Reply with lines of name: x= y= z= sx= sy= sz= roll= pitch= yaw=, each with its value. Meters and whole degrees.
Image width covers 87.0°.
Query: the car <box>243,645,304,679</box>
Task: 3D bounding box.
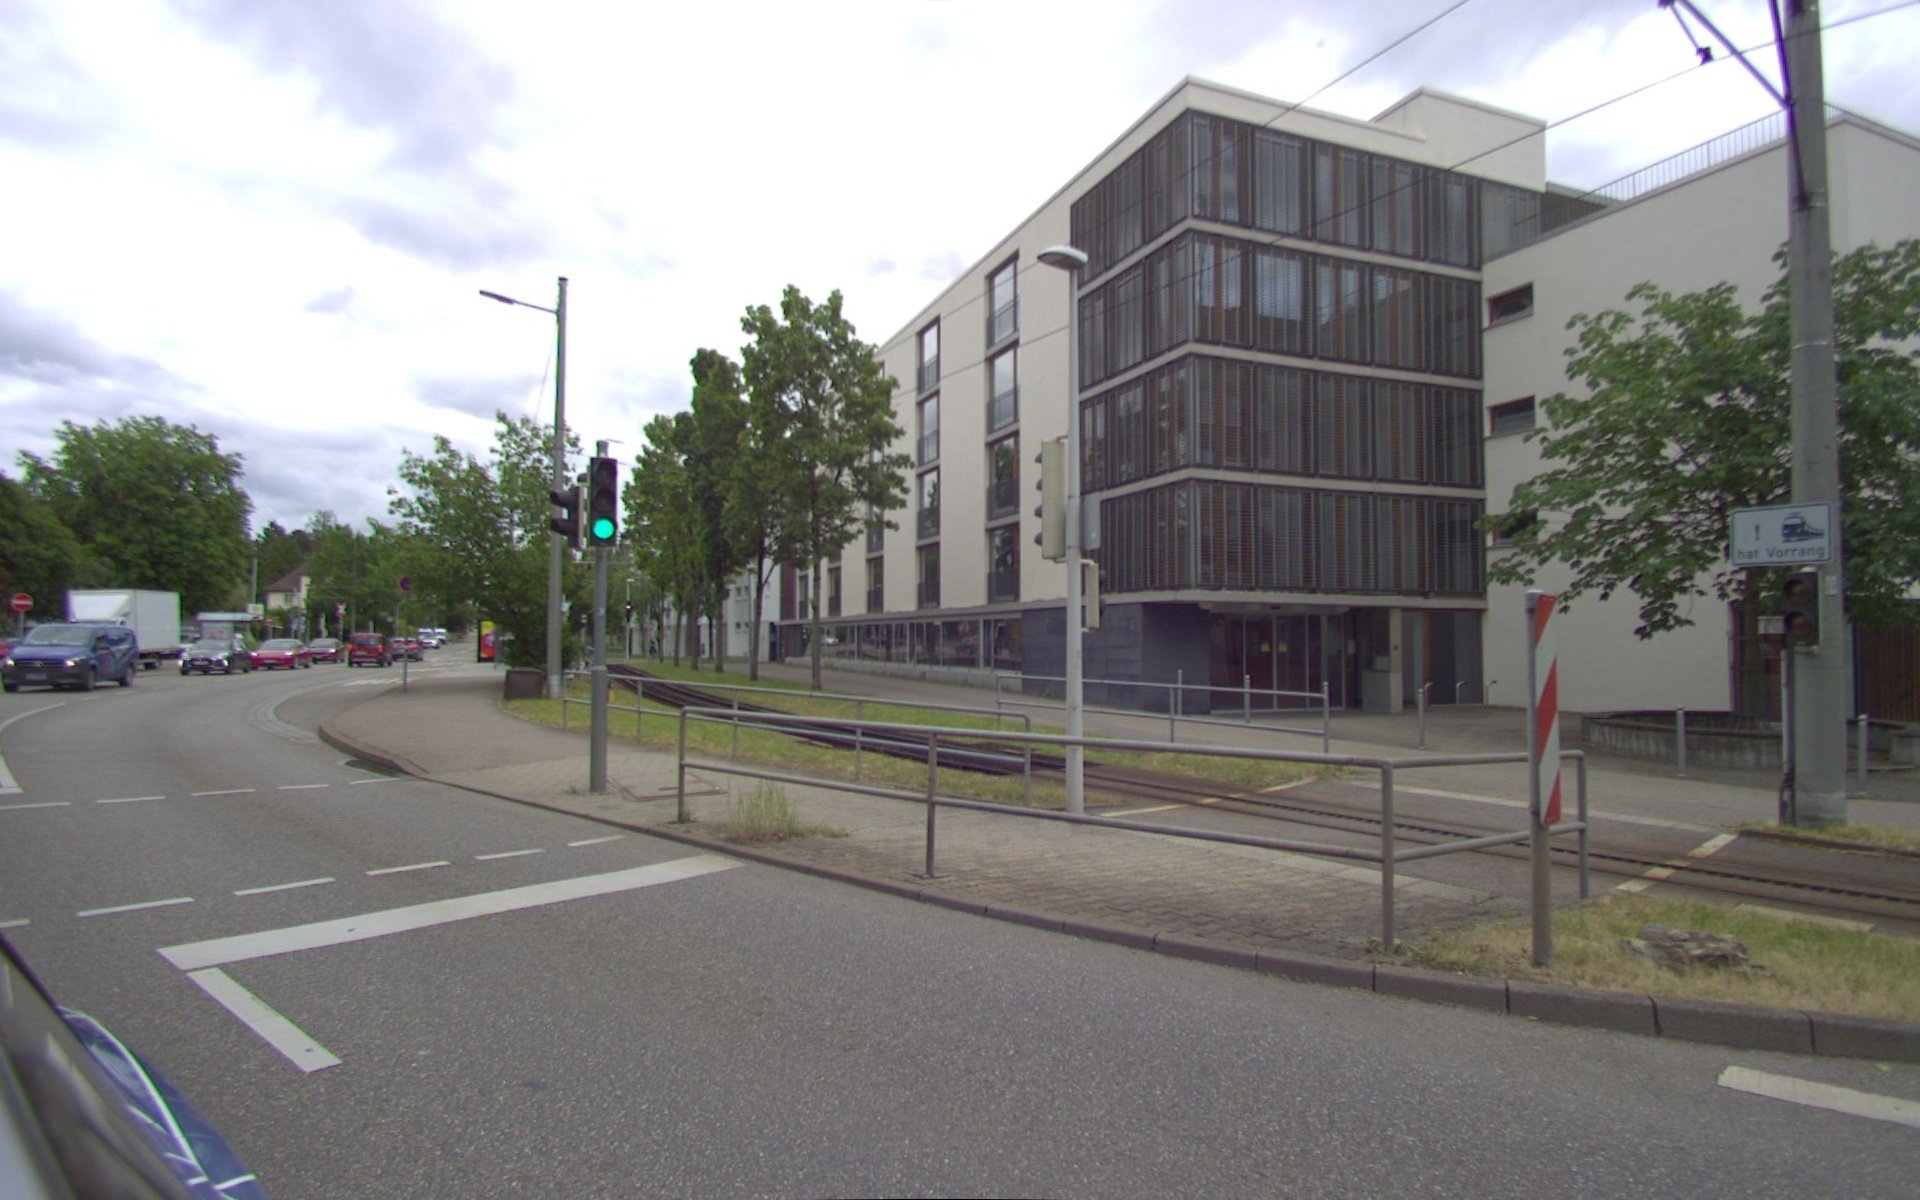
car: x=-32.595 y=2.920 z=48.176 sx=1.819 sy=1.546 sz=4.013 roll=2 pitch=-3 yaw=-26

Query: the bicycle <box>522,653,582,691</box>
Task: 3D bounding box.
bicycle: x=-12.579 y=2.195 z=31.224 sx=1.681 sy=1.097 sz=0.409 roll=0 pitch=-2 yaw=-35

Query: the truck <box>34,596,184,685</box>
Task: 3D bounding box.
truck: x=-36.181 y=1.694 z=43.370 sx=2.499 sy=3.452 sz=7.801 roll=1 pitch=-2 yaw=-22

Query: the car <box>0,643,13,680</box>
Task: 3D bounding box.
car: x=-41.660 y=2.595 z=41.618 sx=1.683 sy=1.495 sz=3.843 roll=-2 pitch=-1 yaw=43

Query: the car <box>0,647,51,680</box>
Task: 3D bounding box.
car: x=-44.266 y=2.914 z=46.154 sx=1.521 sy=1.420 sz=3.952 roll=-2 pitch=-1 yaw=36

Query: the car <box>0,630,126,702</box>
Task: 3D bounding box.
car: x=-25.276 y=1.808 z=28.550 sx=1.819 sy=1.875 sz=4.013 roll=2 pitch=-3 yaw=-27

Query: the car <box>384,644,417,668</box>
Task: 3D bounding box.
car: x=-36.729 y=3.667 z=66.514 sx=1.743 sy=1.490 sz=4.012 roll=3 pitch=-4 yaw=-27

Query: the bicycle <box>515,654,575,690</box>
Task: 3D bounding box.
bicycle: x=-13.070 y=2.269 z=31.927 sx=1.724 sy=1.054 sz=0.409 roll=-1 pitch=-2 yaw=-20

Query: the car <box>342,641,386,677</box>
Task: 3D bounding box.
car: x=-32.396 y=3.211 z=55.090 sx=1.657 sy=1.822 sz=4.365 roll=3 pitch=-4 yaw=-27

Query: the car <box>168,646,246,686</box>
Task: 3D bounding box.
car: x=-30.799 y=2.670 z=41.510 sx=1.819 sy=1.546 sz=4.013 roll=2 pitch=-3 yaw=-26

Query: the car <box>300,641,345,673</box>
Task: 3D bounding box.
car: x=-38.580 y=3.416 z=61.326 sx=1.819 sy=1.875 sz=4.271 roll=1 pitch=-3 yaw=-26
